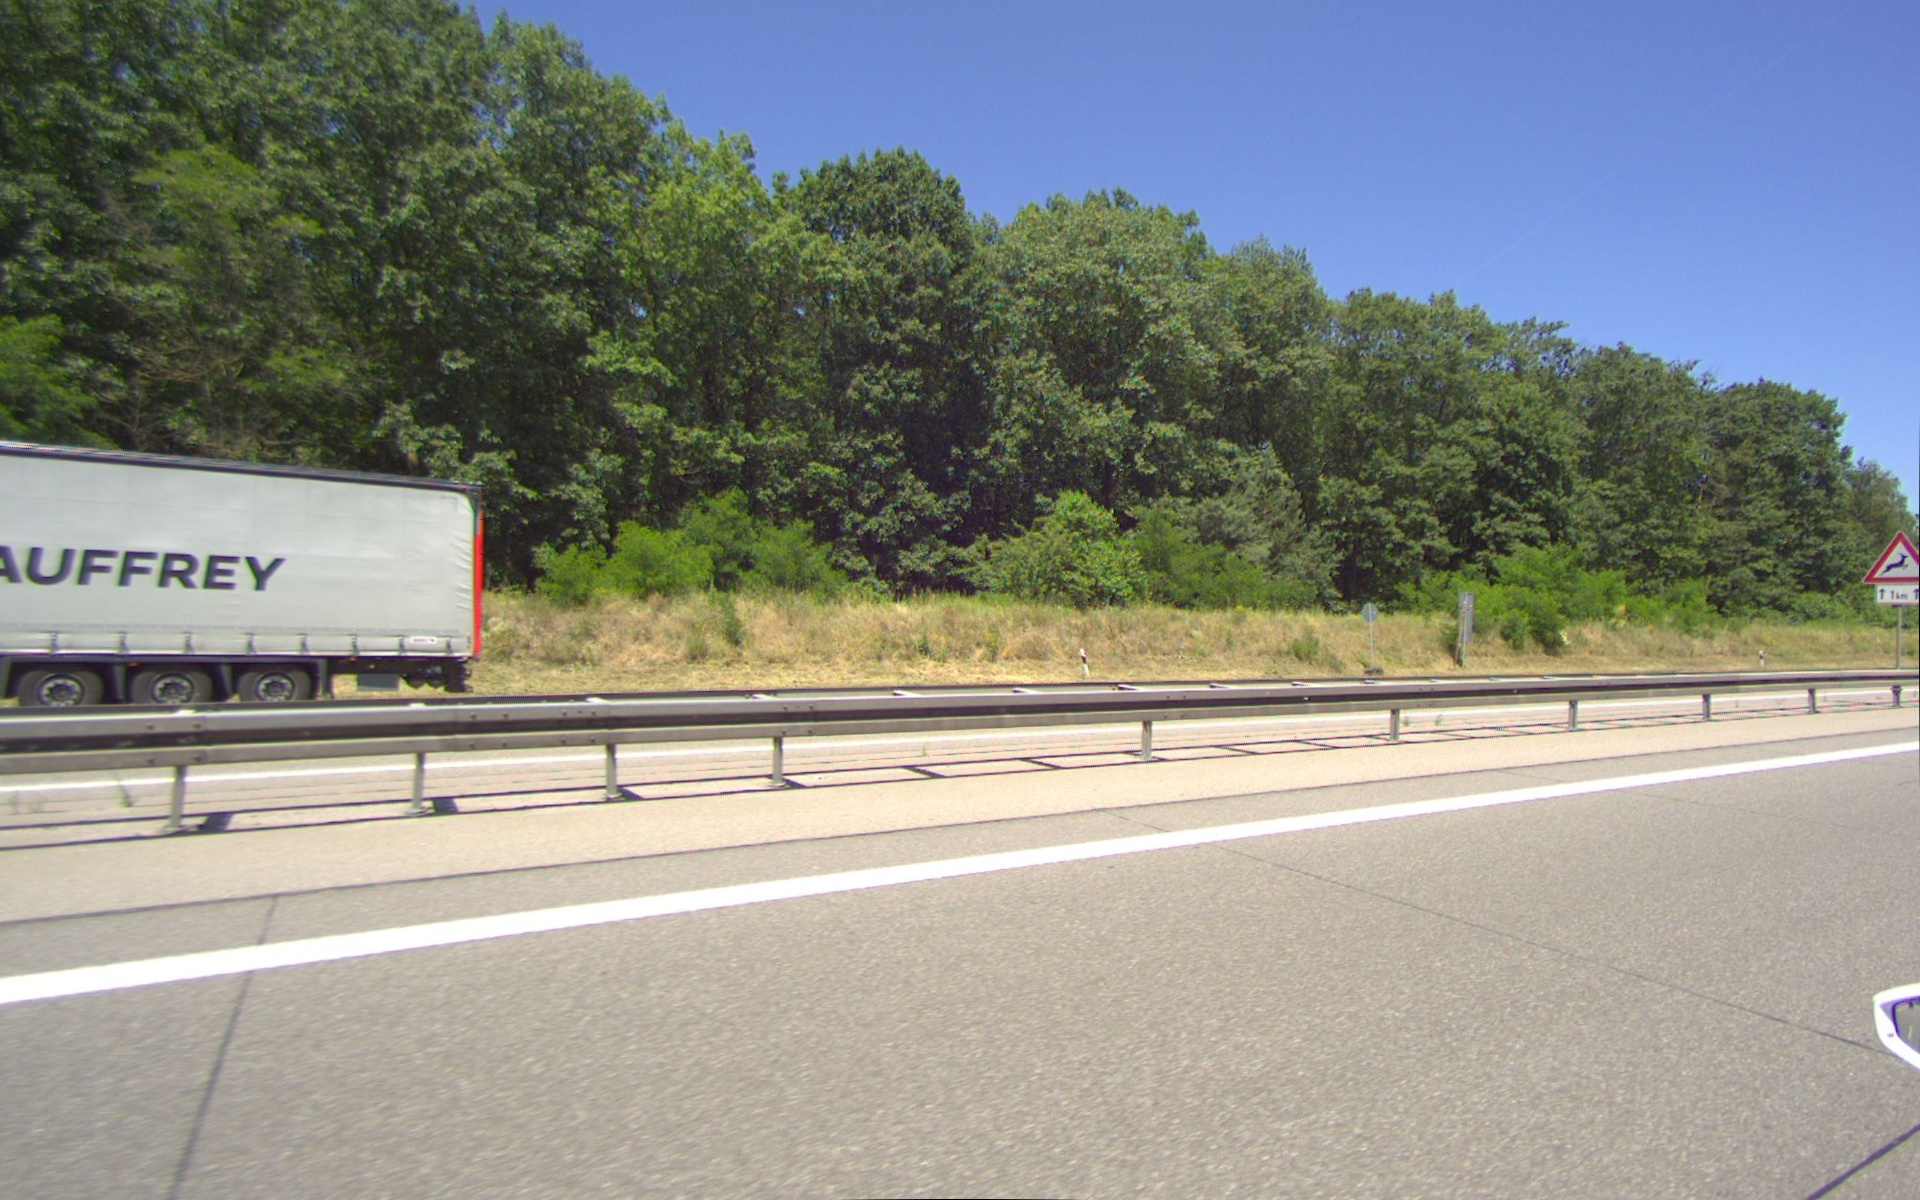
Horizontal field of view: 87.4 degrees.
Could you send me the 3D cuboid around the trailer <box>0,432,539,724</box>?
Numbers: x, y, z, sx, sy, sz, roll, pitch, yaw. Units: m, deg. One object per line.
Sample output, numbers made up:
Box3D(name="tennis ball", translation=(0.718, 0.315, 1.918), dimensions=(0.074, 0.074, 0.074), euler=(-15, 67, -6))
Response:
Box3D(name="trailer", translation=(-14.434, -0.248, 15.502), dimensions=(14.381, 4.172, 2.799), euler=(2, -4, -31))
